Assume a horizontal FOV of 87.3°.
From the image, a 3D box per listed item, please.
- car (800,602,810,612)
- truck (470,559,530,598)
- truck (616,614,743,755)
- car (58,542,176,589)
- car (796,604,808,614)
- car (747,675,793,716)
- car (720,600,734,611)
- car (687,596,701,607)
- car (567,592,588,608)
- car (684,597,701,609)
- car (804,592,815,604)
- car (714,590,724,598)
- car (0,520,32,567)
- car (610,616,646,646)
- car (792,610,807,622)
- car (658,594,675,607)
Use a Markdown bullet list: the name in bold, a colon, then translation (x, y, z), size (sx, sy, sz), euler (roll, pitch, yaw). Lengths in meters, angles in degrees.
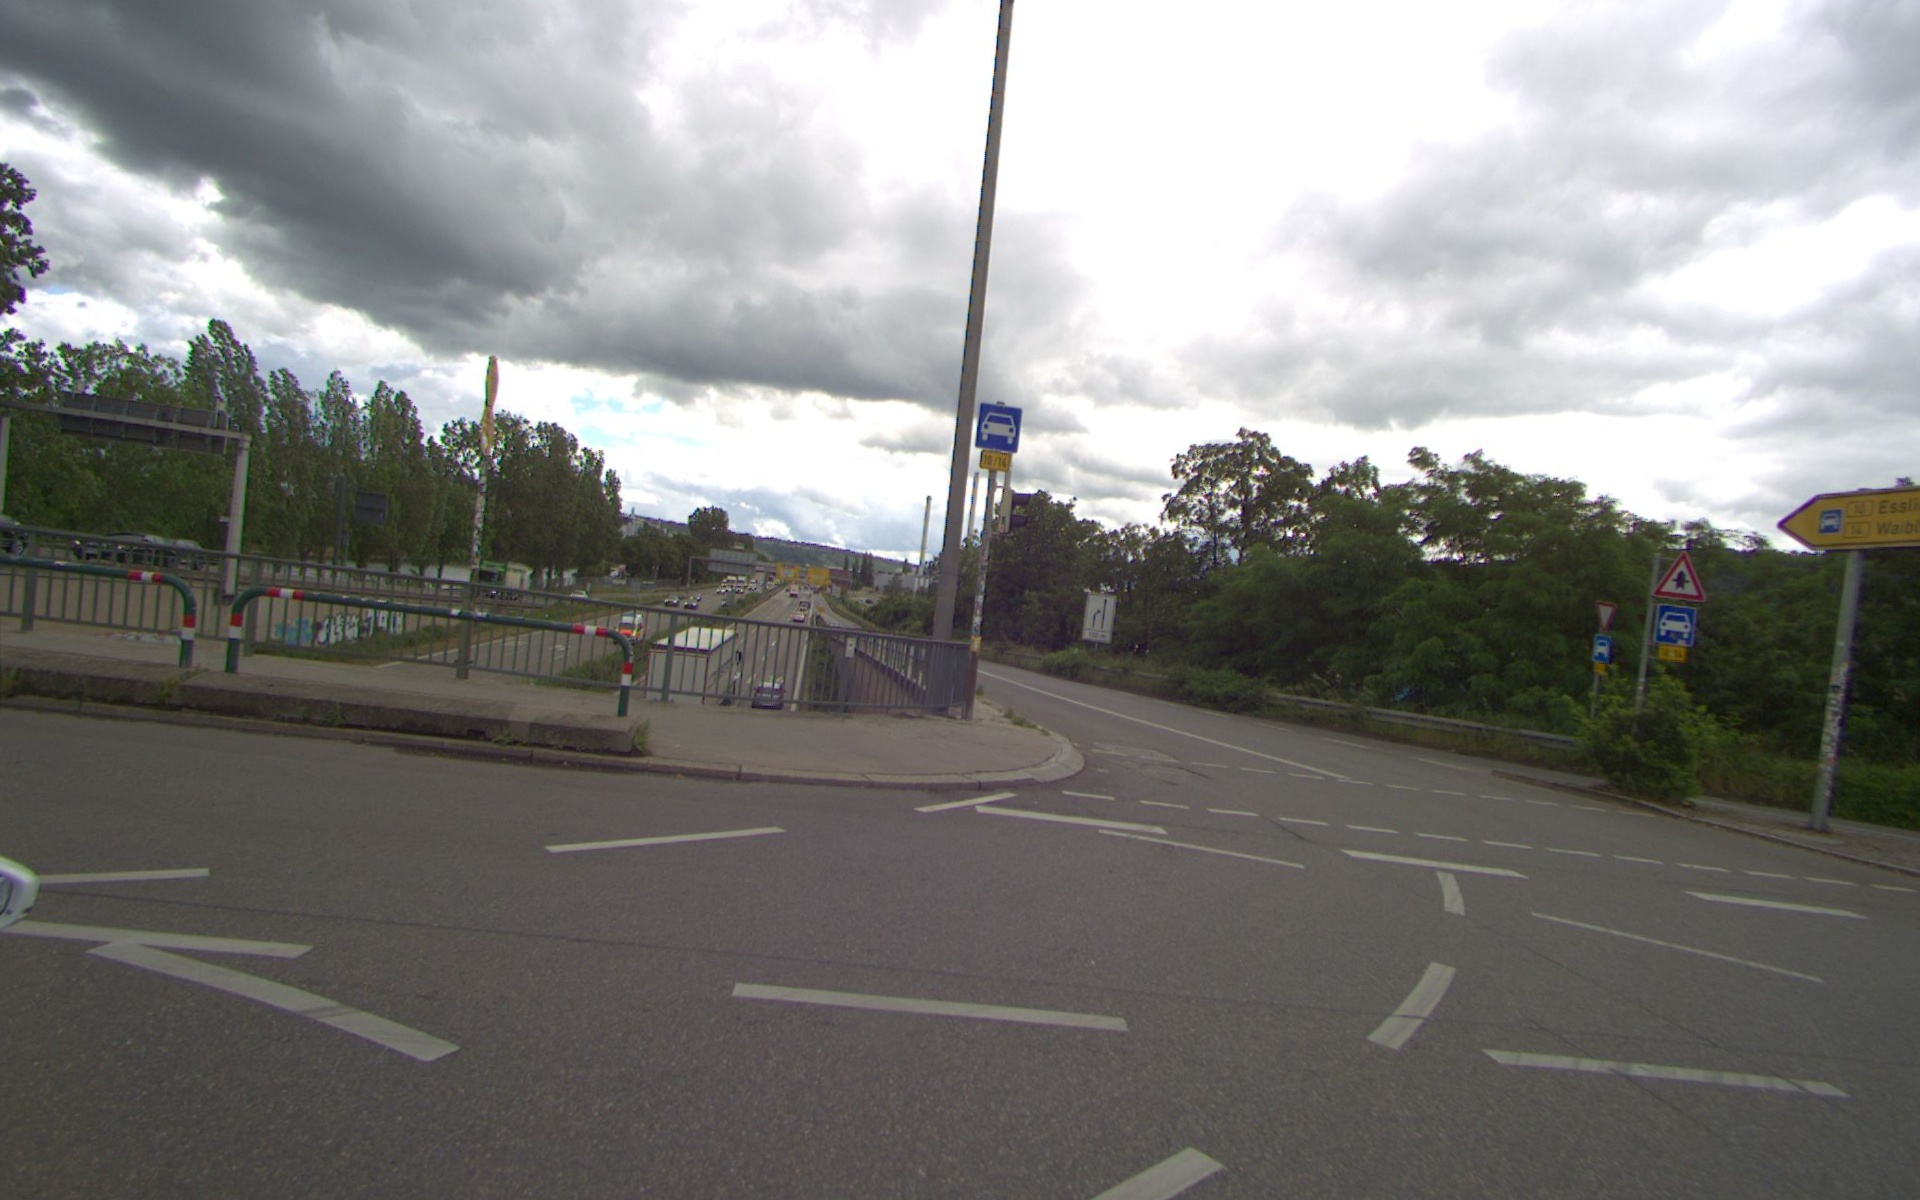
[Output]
- **car**: translation (-34.590, 1.528, 224.411), size (1.966, 2.038, 3.994), euler (6, -1, -11)
- **truck**: translation (-48.601, -2.239, 106.542), size (2.734, 3.553, 9.245), euler (7, 0, -7)
- **truck**: translation (-13.116, 3.660, 48.529), size (3.527, 4.546, 13.146), euler (7, 3, -7)
- **car**: translation (-36.683, -1.554, 43.898), size (1.965, 1.640, 3.989), euler (7, 3, -7)
- **car**: translation (-28.970, 1.646, 184.554), size (1.966, 1.757, 3.990), euler (6, -1, -11)
- **car**: translation (-10.524, 5.263, 55.911), size (1.964, 1.757, 3.995), euler (6, -1, -5)
- **car**: translation (-41.485, 0.951, 179.097), size (1.965, 1.727, 4.075), euler (6, -1, -8)
- **car**: translation (-50.092, 0.296, 189.493), size (1.965, 1.727, 4.075), euler (6, -1, -8)
- **car**: translation (-53.169, -0.024, 139.815), size (1.967, 1.692, 3.758), euler (7, 3, -11)
- **car**: translation (-41.742, 0.475, 156.839), size (1.965, 1.727, 4.075), euler (6, -1, -8)
- **car**: translation (-36.357, -0.475, 242.954), size (1.966, 2.654, 5.390), euler (5, -1, -11)
- **car**: translation (-58.597, -1.420, 244.796), size (1.965, 1.727, 4.075), euler (6, -1, -8)
- **car**: translation (-35.674, -2.193, 35.683), size (1.965, 1.637, 3.997), euler (6, -2, -7)
- **car**: translation (-28.594, 2.640, 86.831), size (1.965, 2.399, 4.585), euler (5, -1, -8)
- **car**: translation (-24.943, 2.464, 156.321), size (1.966, 1.757, 3.991), euler (6, -1, -11)
- **car**: translation (-45.790, 0.099, 157.030), size (1.965, 1.727, 4.075), euler (6, -1, -8)
